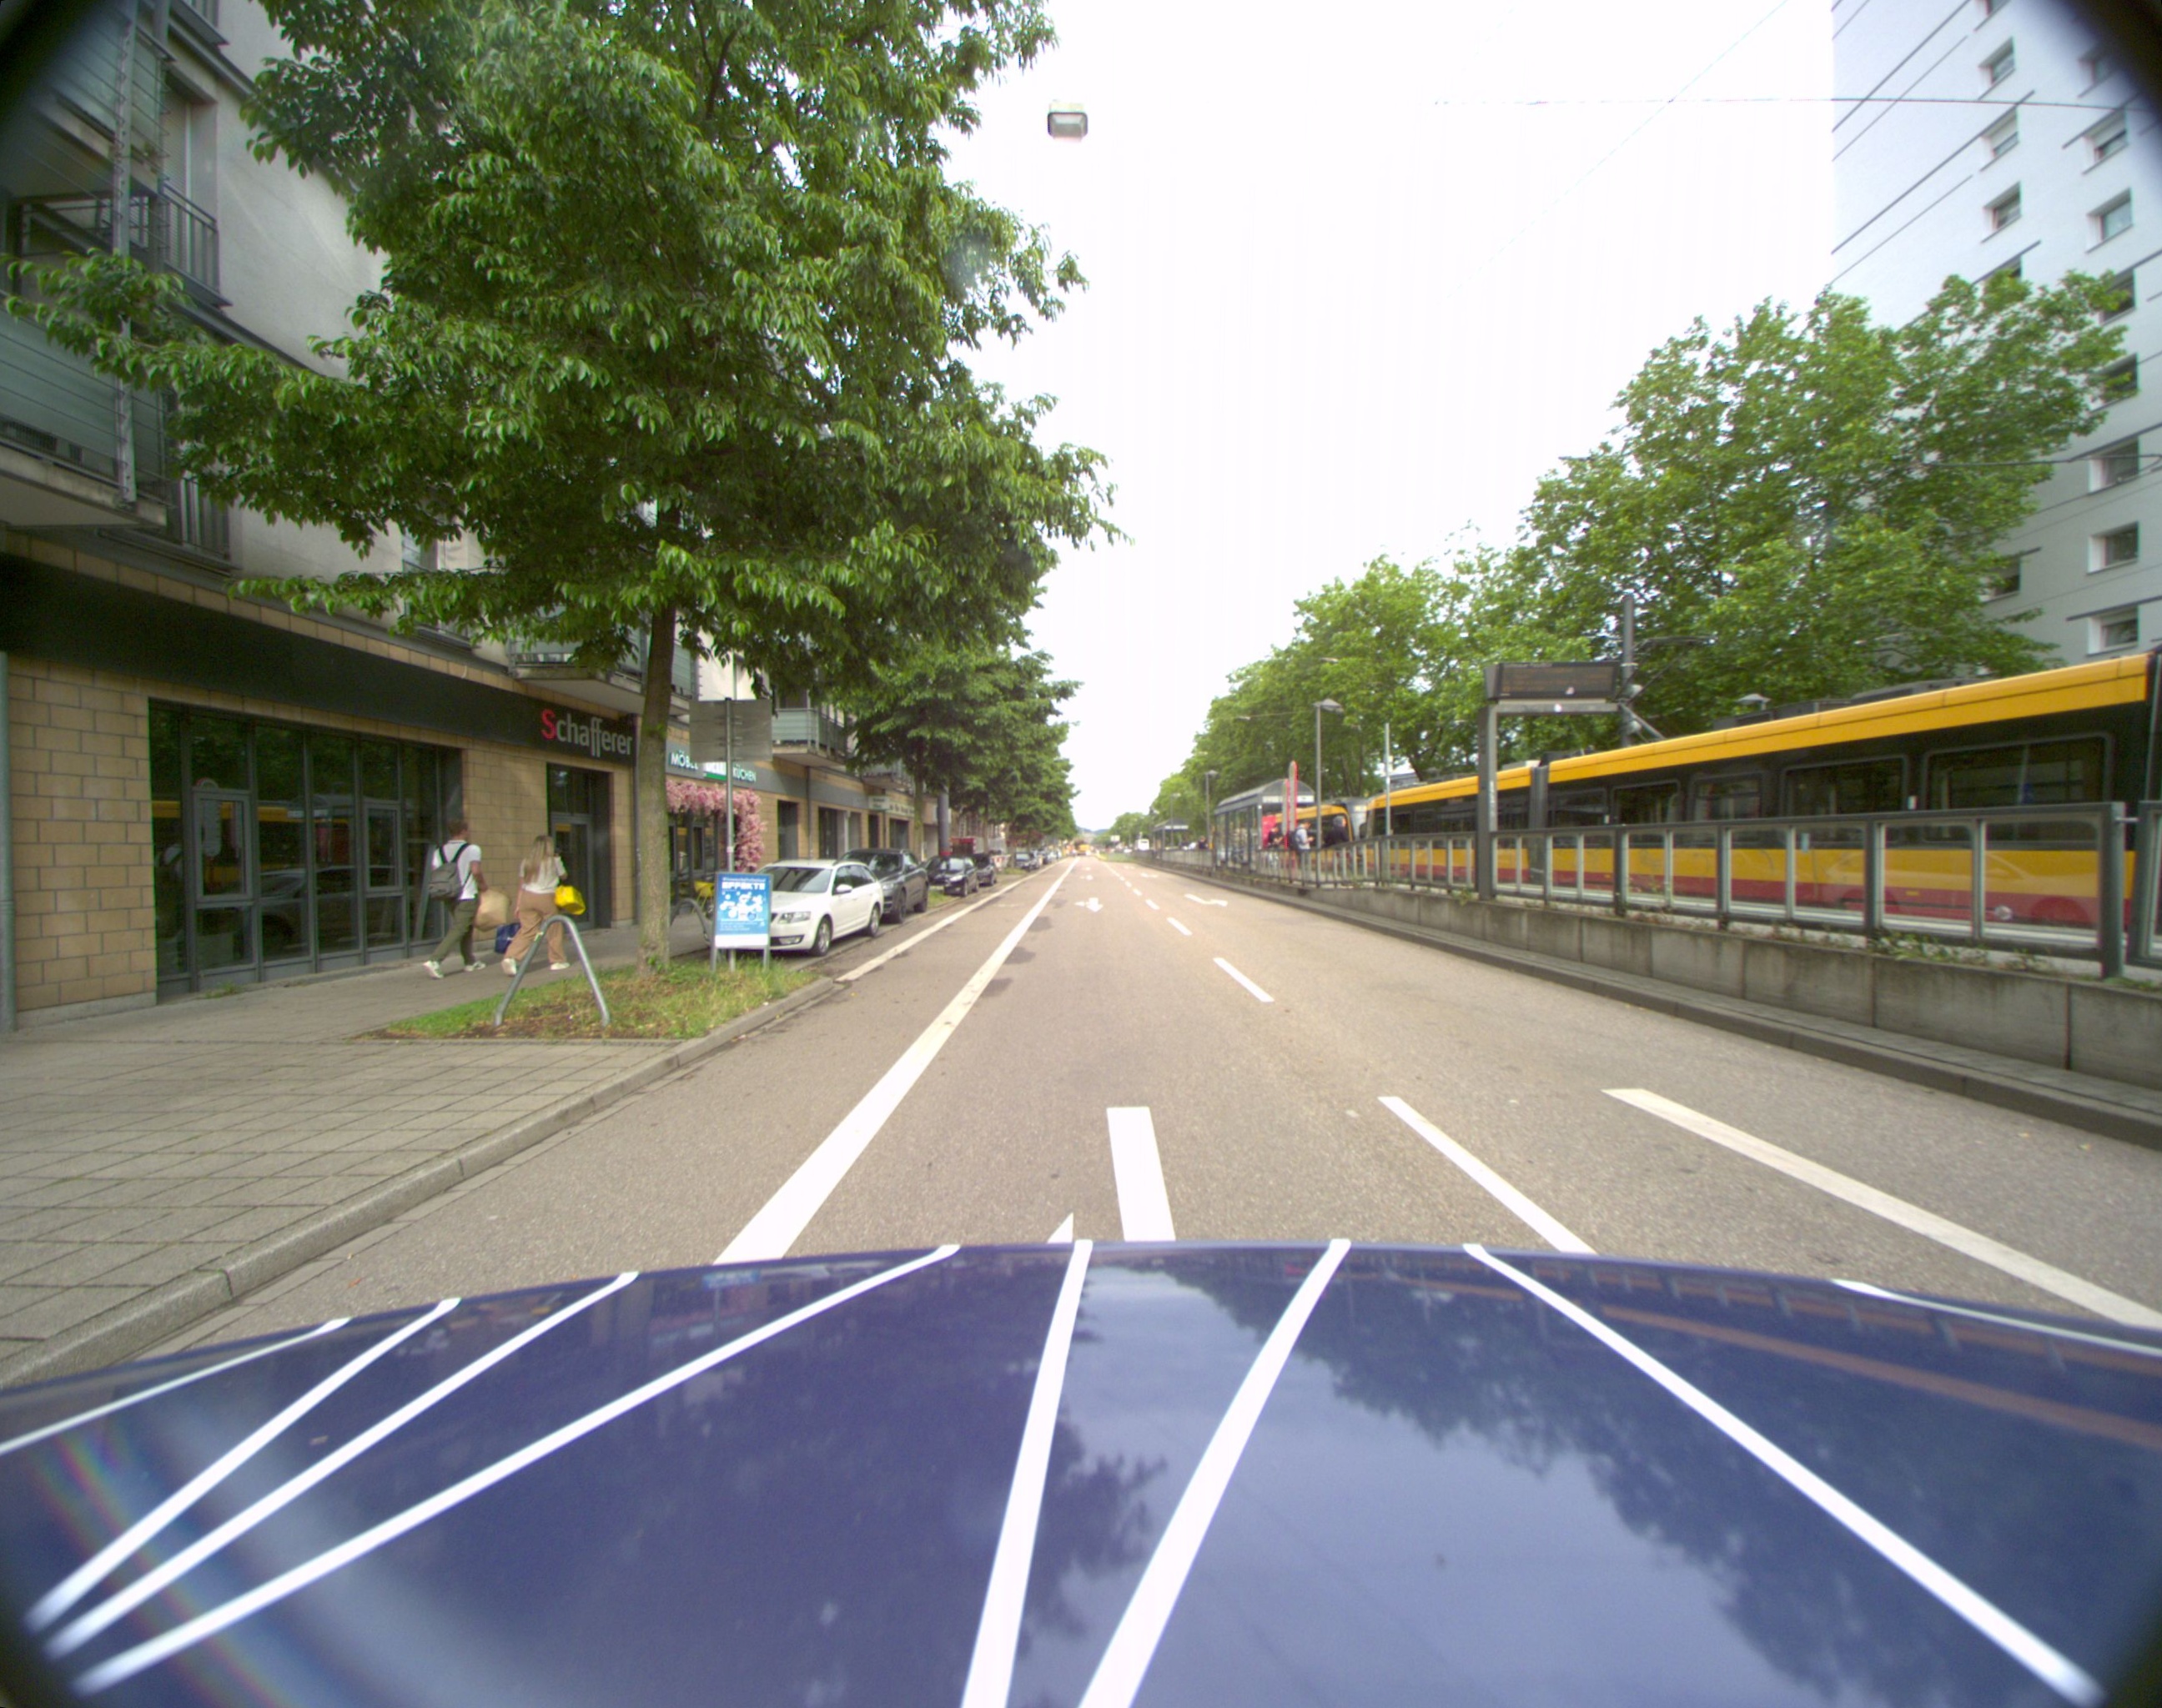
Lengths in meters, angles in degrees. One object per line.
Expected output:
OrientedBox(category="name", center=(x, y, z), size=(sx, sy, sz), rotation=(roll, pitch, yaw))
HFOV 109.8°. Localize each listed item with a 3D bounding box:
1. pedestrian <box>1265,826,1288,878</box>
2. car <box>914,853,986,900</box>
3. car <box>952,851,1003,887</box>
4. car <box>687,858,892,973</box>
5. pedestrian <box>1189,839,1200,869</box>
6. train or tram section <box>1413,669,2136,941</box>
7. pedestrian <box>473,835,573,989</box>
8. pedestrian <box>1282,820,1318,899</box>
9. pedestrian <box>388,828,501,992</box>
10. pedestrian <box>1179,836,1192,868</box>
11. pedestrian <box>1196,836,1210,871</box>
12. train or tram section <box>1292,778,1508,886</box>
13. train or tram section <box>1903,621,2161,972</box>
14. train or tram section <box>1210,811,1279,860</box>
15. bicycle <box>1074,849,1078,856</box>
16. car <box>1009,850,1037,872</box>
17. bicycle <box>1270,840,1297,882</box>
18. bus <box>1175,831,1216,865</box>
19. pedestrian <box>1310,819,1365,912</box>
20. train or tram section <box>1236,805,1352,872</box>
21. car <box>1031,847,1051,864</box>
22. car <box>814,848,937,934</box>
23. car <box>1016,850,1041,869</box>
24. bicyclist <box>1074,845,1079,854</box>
OrientedBox(category="pedestrian", center=(6.231, -0.063, 24.223), size=(0.532, 1.623, 0.471), rotation=(-2, 1, -2))
OrientedBox(category="car", center=(-4.613, 0.741, 27.379), size=(1.680, 1.433, 4.407), rotation=(2, 1, 2))
OrientedBox(category="car", center=(-4.697, 0.635, 35.078), size=(1.802, 1.447, 4.387), rotation=(2, 1, -1))
OrientedBox(category="car", center=(-4.708, 0.891, 13.011), size=(1.680, 1.490, 4.389), rotation=(2, 1, 2))
OrientedBox(category="pedestrian", center=(6.158, 0.004, 41.280), size=(0.480, 1.623, 0.392), rotation=(-2, 1, 2))
OrientedBox(category="train or tram section", center=(12.630, -0.763, 17.803), size=(3.067, 3.511, 15.292), rotation=(-2, 1, 1))
OrientedBox(category="pedestrian", center=(-6.732, 0.677, 9.203), size=(0.617, 1.795, 0.737), rotation=(0, 1, 2))
OrientedBox(category="pedestrian", center=(5.698, 0.128, 19.739), size=(0.753, 2.002, 0.819), rotation=(-2, 2, 24))
OrientedBox(category="pedestrian", center=(-7.545, 0.636, 9.045), size=(0.676, 1.880, 0.737), rotation=(0, 1, 2))
OrientedBox(category="pedestrian", center=(6.630, -0.145, 48.312), size=(0.676, 2.002, 0.588), rotation=(-2, 1, -2))
OrientedBox(category="pedestrian", center=(5.847, -0.036, 36.520), size=(0.513, 1.623, 0.730), rotation=(-2, 1, 2))
OrientedBox(category="train or tram section", center=(12.829, -0.844, 33.115), size=(3.067, 3.511, 15.292), rotation=(-2, 1, 1))
OrientedBox(category="train or tram section", center=(12.446, -0.547, 2.222), size=(3.067, 3.568, 15.846), rotation=(-2, 1, 1))
OrientedBox(category="train or tram section", center=(13.209, -1.471, 62.787), size=(3.100, 3.541, 12.537), rotation=(-2, 1, 1))
OrientedBox(category="bicycle", center=(-0.865, -0.285, 141.074), size=(0.613, 1.116, 2.050), rotation=(-2, 1, 1))
OrientedBox(category="car", center=(-4.288, 0.496, 56.524), size=(1.755, 1.452, 4.279), rotation=(1, 1, 0))
OrientedBox(category="bicycle", center=(6.074, 0.190, 22.827), size=(0.420, 1.215, 1.289), rotation=(-2, 1, 0))
OrientedBox(category="bus", center=(7.321, -0.416, 48.783), size=(1.998, 2.002, 3.999), rotation=(-2, 1, 1))
OrientedBox(category="pedestrian", center=(5.689, 0.242, 16.889), size=(0.756, 2.002, 0.816), rotation=(-3, 2, -36))
OrientedBox(category="train or tram section", center=(13.010, -0.956, 48.638), size=(3.067, 3.511, 15.769), rotation=(-2, 1, 1))
OrientedBox(category="car", center=(-4.087, 0.145, 78.828), size=(1.837, 1.720, 4.279), rotation=(1, 1, 0))
OrientedBox(category="car", center=(-4.743, 0.754, 18.255), size=(1.716, 1.707, 4.710), rotation=(2, 1, -1))
OrientedBox(category="car", center=(-4.316, 0.444, 62.695), size=(1.755, 1.452, 4.279), rotation=(1, 1, 0))
OrientedBox(category="bicyclist", center=(-0.855, -0.826, 141.119), size=(0.751, 1.777, 0.838), rotation=(-2, 1, 1))
